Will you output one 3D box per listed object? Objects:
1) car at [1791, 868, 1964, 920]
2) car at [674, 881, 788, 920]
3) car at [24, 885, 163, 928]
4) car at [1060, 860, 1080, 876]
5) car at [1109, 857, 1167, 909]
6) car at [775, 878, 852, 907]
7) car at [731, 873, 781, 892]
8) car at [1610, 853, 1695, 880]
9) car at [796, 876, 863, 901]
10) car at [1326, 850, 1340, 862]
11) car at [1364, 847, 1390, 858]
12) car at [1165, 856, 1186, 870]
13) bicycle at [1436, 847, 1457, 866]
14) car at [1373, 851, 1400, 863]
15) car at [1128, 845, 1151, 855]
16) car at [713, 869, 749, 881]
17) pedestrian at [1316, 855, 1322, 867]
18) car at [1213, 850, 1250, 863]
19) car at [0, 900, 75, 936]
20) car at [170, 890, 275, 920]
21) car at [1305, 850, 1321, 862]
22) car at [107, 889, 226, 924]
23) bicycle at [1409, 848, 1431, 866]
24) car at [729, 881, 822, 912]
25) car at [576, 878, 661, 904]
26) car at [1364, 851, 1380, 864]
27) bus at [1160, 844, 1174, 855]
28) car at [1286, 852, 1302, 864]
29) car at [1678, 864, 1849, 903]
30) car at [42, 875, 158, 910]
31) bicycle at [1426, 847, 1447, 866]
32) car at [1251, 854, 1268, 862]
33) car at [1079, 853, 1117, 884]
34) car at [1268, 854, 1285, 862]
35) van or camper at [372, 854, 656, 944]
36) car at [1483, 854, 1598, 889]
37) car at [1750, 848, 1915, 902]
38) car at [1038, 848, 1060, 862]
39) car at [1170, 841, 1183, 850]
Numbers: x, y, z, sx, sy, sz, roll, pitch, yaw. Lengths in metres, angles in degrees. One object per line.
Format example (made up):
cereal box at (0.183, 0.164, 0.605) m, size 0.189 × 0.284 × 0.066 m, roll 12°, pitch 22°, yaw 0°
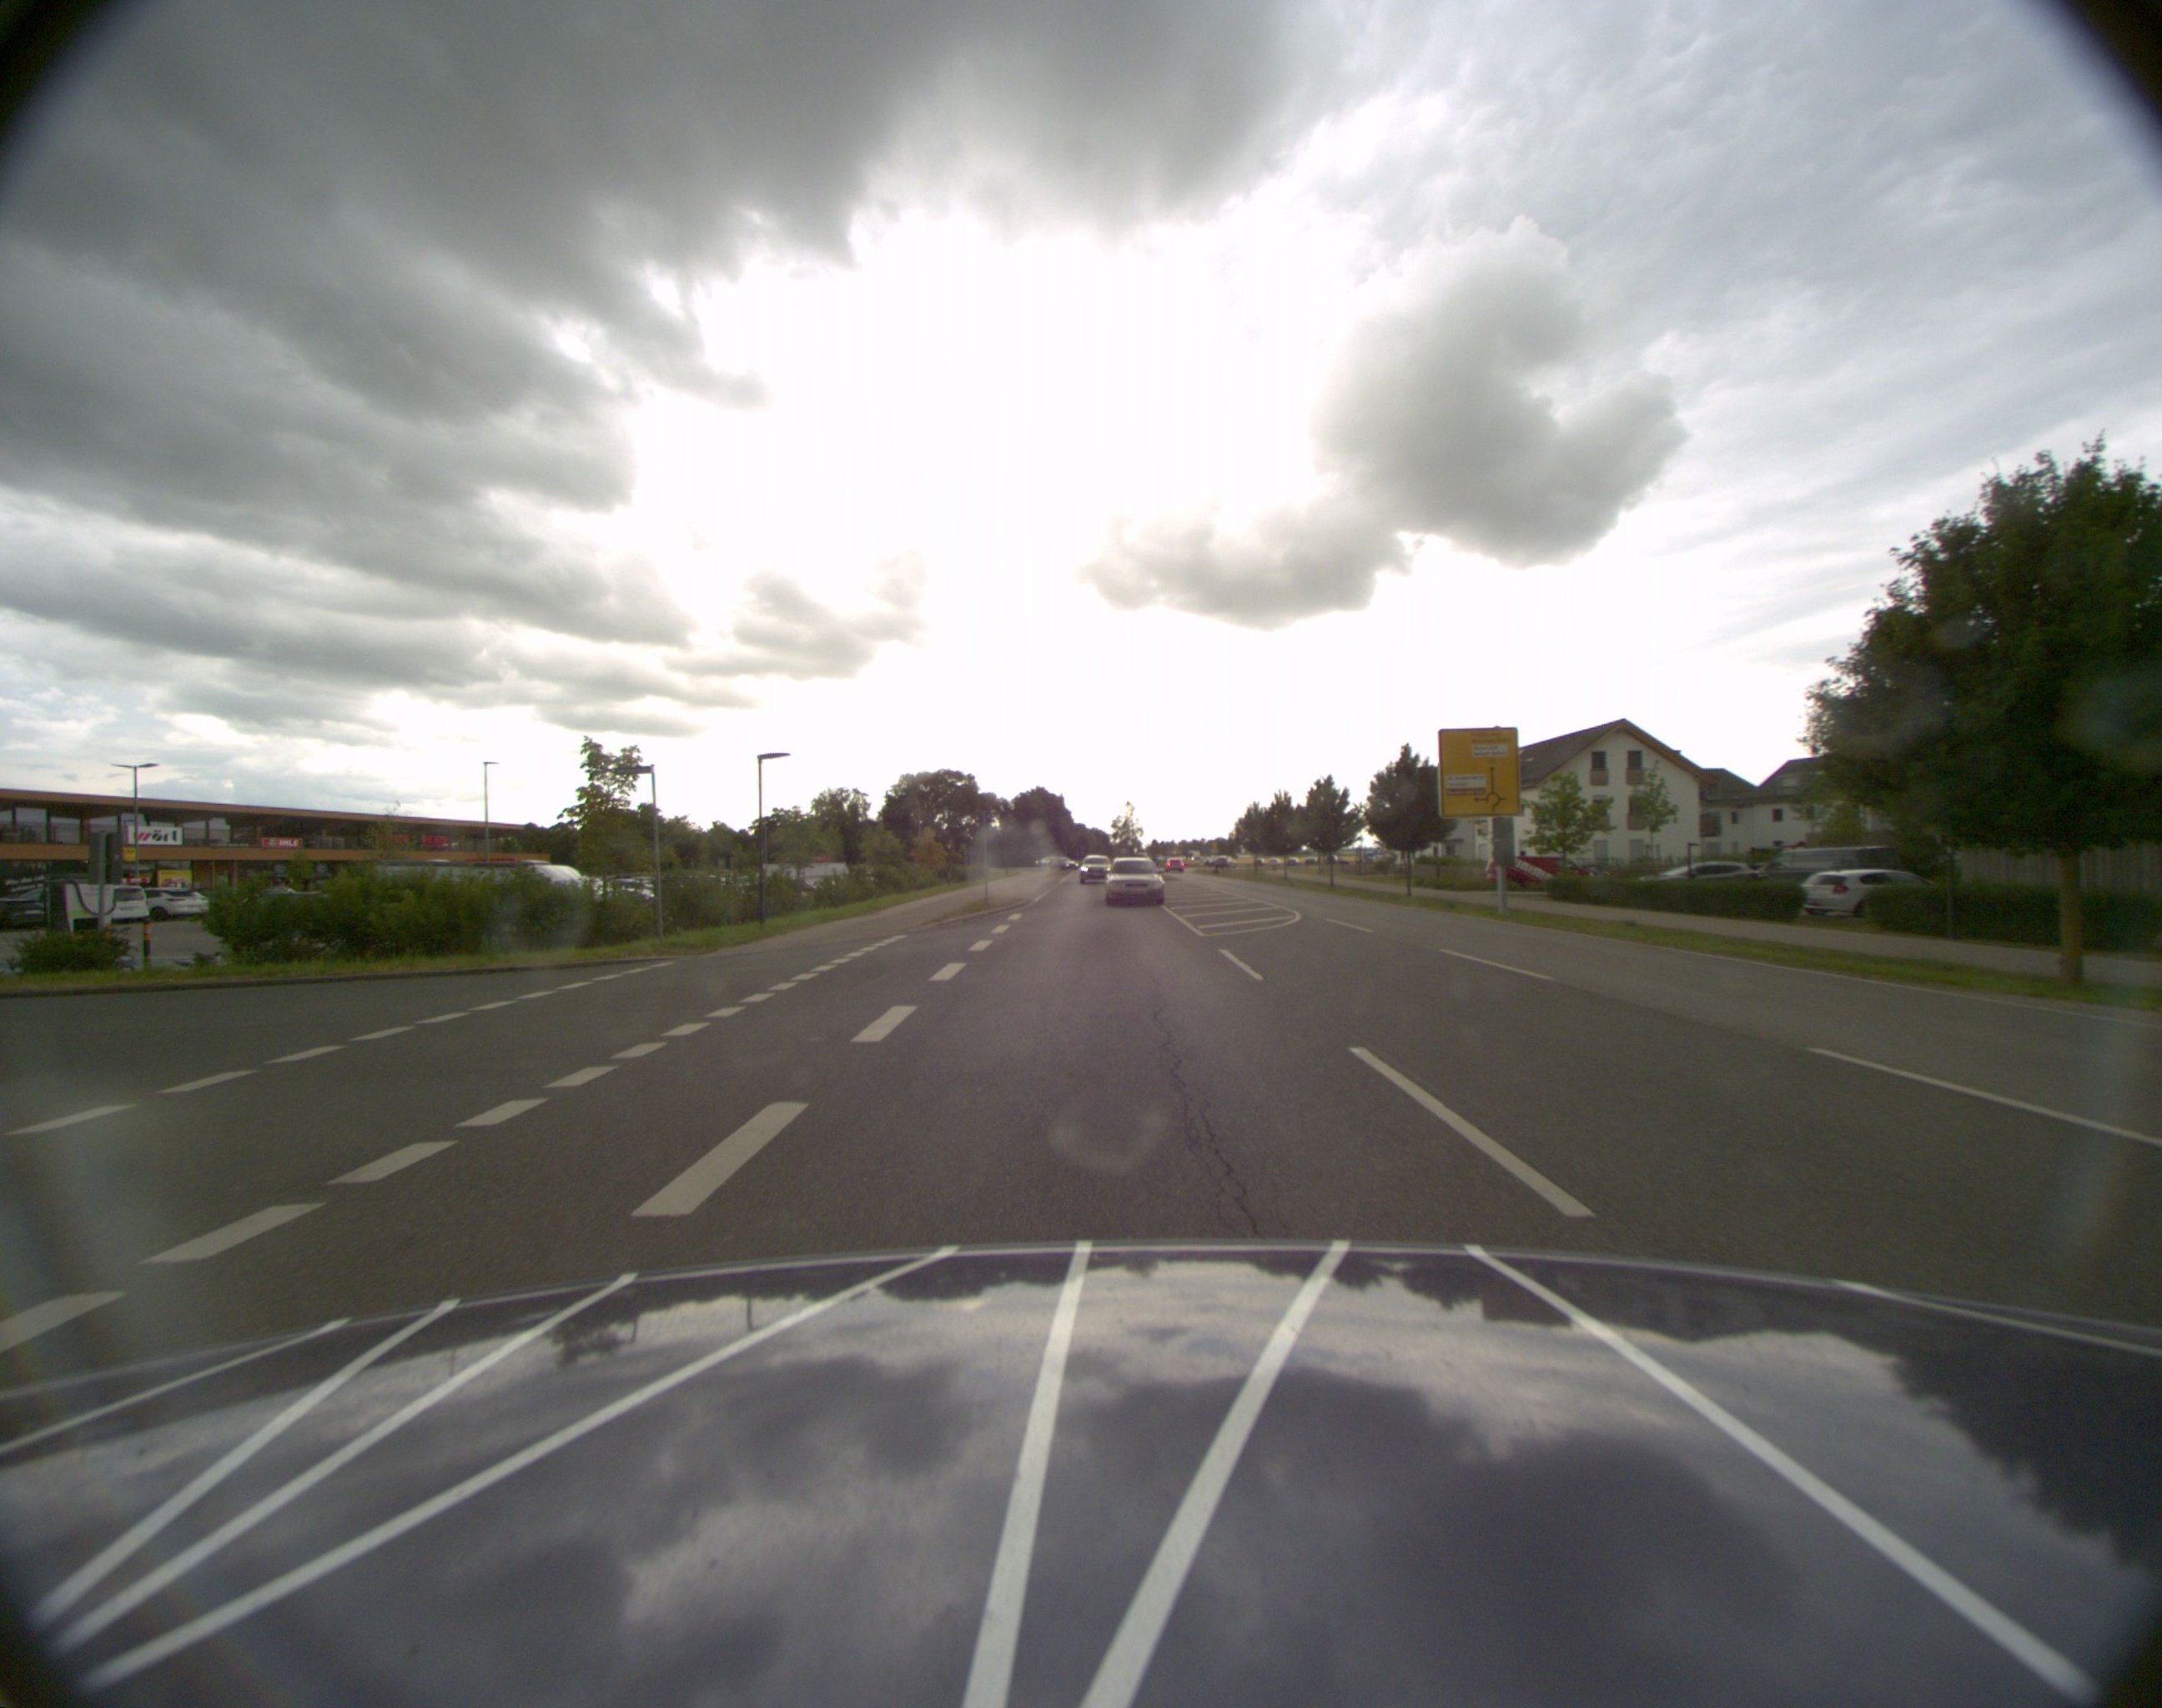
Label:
car at (23.898, 1.173, 22.873) m, size 3.523 × 1.480 × 1.563 m, roll 0°, pitch 0°, yaw 1°
car at (-15.742, 2.068, 34.318) m, size 4.157 × 1.588 × 2.080 m, roll 0°, pitch 0°, yaw -1°
car at (-46.638, 2.451, 35.964) m, size 3.903 × 1.900 × 2.039 m, roll 0°, pitch 0°, yaw -1°
car at (-1.295, 1.617, 90.908) m, size 2.000 × 1.827 × 3.998 m, roll 0°, pitch 0°, yaw -6°
car at (1.808, 0.859, 24.166) m, size 1.700 × 1.457 × 4.001 m, roll 0°, pitch 1°, yaw 4°
car at (-15.192, 2.177, 43.234) m, size 3.766 × 1.529 × 1.676 m, roll 0°, pitch 0°, yaw -1°
car at (-28.187, 2.476, 65.879) m, size 3.558 × 1.524 × 1.753 m, roll 0°, pitch 0°, yaw 0°
car at (33.389, 0.719, 44.543) m, size 1.998 × 1.499 × 4.000 m, roll 0°, pitch 0°, yaw 1°
car at (-16.161, 2.191, 49.002) m, size 3.766 × 1.529 × 1.676 m, roll 0°, pitch 0°, yaw -1°
car at (41.911, 0.355, 126.503) m, size 1.996 × 2.002 × 4.005 m, roll 1°, pitch 0°, yaw 16°
car at (55.228, -0.243, 141.832) m, size 4.001 × 2.002 × 1.998 m, roll 1°, pitch 0°, yaw -11°
car at (9.726, 0.912, 78.338) m, size 1.774 × 1.435 × 4.000 m, roll 0°, pitch 0°, yaw 1°
bicycle at (28.572, 0.183, 59.435) m, size 0.684 × 1.420 × 2.094 m, roll 0°, pitch 0°, yaw 1°
car at (53.962, 0.521, 134.263) m, size 4.000 × 2.002 × 1.999 m, roll 1°, pitch 0°, yaw -7°
car at (9.835, -0.603, 128.094) m, size 1.994 × 1.674 × 4.009 m, roll 1°, pitch 0°, yaw 38°
car at (-45.404, 2.705, 98.563) m, size 1.697 × 1.352 × 4.008 m, roll 0°, pitch 0°, yaw 29°
pedestrian at (29.263, 0.850, 93.547) m, size 0.547 × 1.521 × 0.586 m, roll -2°, pitch 0°, yaw 1°
car at (19.069, 0.348, 96.408) m, size 4.218 × 1.573 × 1.829 m, roll 1°, pitch 0°, yaw -15°
car at (-46.166, 2.716, 32.658) m, size 3.470 × 1.374 × 1.775 m, roll 0°, pitch 0°, yaw -1°
car at (-47.033, 2.775, 41.685) m, size 3.746 × 1.469 × 1.793 m, roll 0°, pitch 0°, yaw 1°
car at (39.151, 0.318, 128.085) m, size 1.995 × 2.002 × 4.007 m, roll 1°, pitch 0°, yaw 26°
car at (-47.127, 2.693, 39.227) m, size 3.746 × 1.598 × 2.039 m, roll 0°, pitch 0°, yaw 1°
bicycle at (26.651, 0.234, 59.757) m, size 0.684 × 1.404 × 2.344 m, roll 0°, pitch 0°, yaw 1°
car at (-15.996, 2.216, 39.905) m, size 4.157 × 1.529 × 1.676 m, roll 0°, pitch 0°, yaw -1°
car at (-28.875, 2.324, 47.530) m, size 3.997 × 1.433 × 2.000 m, roll -1°, pitch 0°, yaw 0°
car at (48.425, 0.574, 126.354) m, size 1.994 × 2.002 × 4.008 m, roll 1°, pitch 0°, yaw 29°
bus at (24.971, -1.329, 221.357) m, size 2.992 × 3.261 × 6.483 m, roll 0°, pitch 0°, yaw -2°
car at (36.416, 0.752, 129.955) m, size 1.995 × 2.002 × 4.007 m, roll 1°, pitch 0°, yaw 26°
car at (26.710, 1.120, 29.856) m, size 4.917 × 1.422 × 1.906 m, roll 0°, pitch 0°, yaw 2°
car at (-52.442, 2.030, 40.660) m, size 3.995 × 1.739 × 1.946 m, roll 0°, pitch 0°, yaw 6°
bicycle at (27.793, 0.211, 59.463) m, size 0.684 × 1.409 × 2.094 m, roll 0°, pitch 0°, yaw 1°
car at (31.112, 0.717, 132.478) m, size 1.995 × 1.280 × 4.007 m, roll 0°, pitch 0°, yaw 26°
car at (1.012, 0.750, 42.828) m, size 1.869 × 1.578 × 5.063 m, roll -1°, pitch 0°, yaw 4°
car at (33.742, 0.733, 130.954) m, size 1.995 × 1.280 × 4.007 m, roll 0°, pitch 0°, yaw 26°
van or camper at (-16.289, 1.250, 22.118) m, size 6.483 × 2.450 × 2.281 m, roll 0°, pitch 0°, yaw -1°
car at (24.648, 0.920, 40.888) m, size 4.915 × 1.805 × 1.907 m, roll 0°, pitch 0°, yaw 6°
car at (31.750, 0.832, 32.380) m, size 1.998 × 2.001 × 5.202 m, roll -4°, pitch 0°, yaw 4°
car at (-4.806, 0.185, 113.772) m, size 1.996 × 2.002 × 4.248 m, roll 1°, pitch 0°, yaw 17°
car at (17.306, -1.529, 137.749) m, size 1.774 × 1.435 × 4.000 m, roll 0°, pitch 0°, yaw 1°
